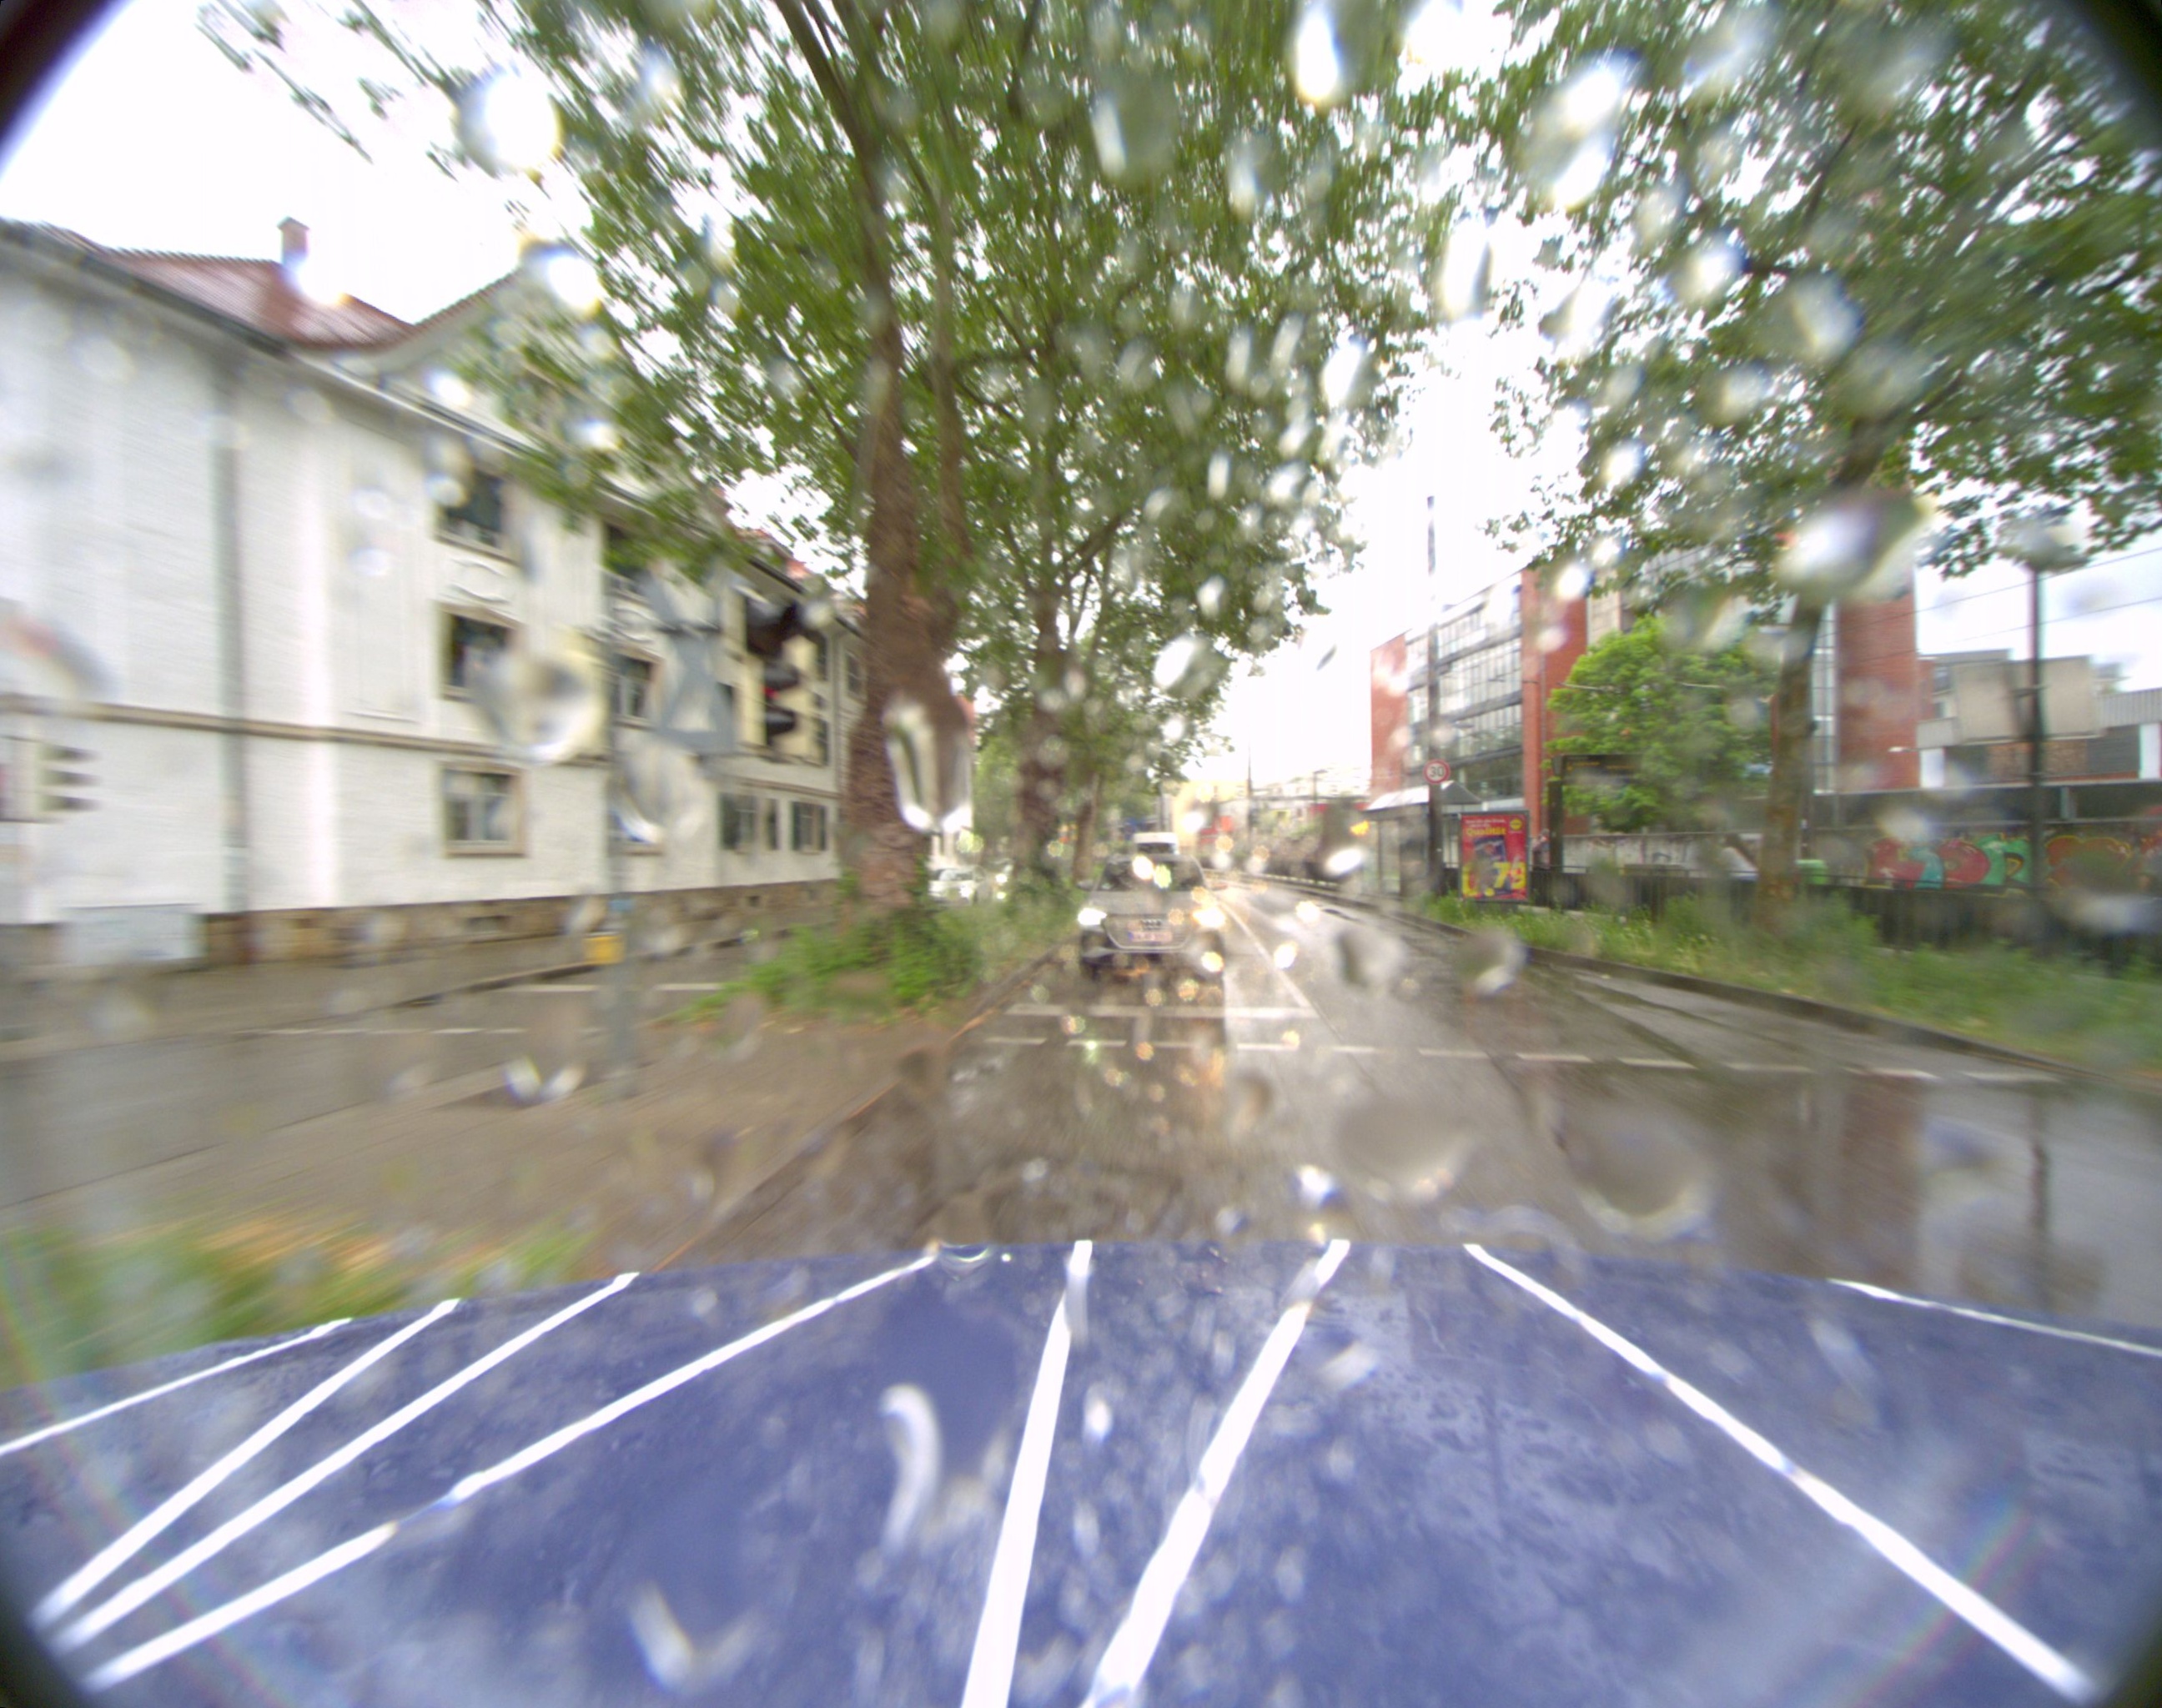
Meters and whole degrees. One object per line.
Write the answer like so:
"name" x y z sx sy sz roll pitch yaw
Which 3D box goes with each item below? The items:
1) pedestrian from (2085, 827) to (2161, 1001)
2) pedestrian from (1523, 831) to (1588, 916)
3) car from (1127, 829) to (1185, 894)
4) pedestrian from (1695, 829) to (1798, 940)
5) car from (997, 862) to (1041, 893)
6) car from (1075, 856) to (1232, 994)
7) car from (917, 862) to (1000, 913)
"pedestrian" 10.798 0.572 7.426 0.860 1.678 0.849 -1 0 -5
"pedestrian" 10.507 0.423 16.855 0.860 1.821 0.849 -1 0 -5
"car" 3.359 0.260 33.800 2.281 2.547 6.513 -1 1 6
"pedestrian" 10.537 0.468 12.062 0.860 1.678 0.849 -1 0 -5
"car" -3.348 1.245 41.466 1.927 1.412 3.665 -4 0 1
"car" 0.974 0.856 11.011 1.808 1.611 4.139 -1 0 3
"car" -3.980 1.046 25.414 1.781 1.424 4.400 -4 0 3
